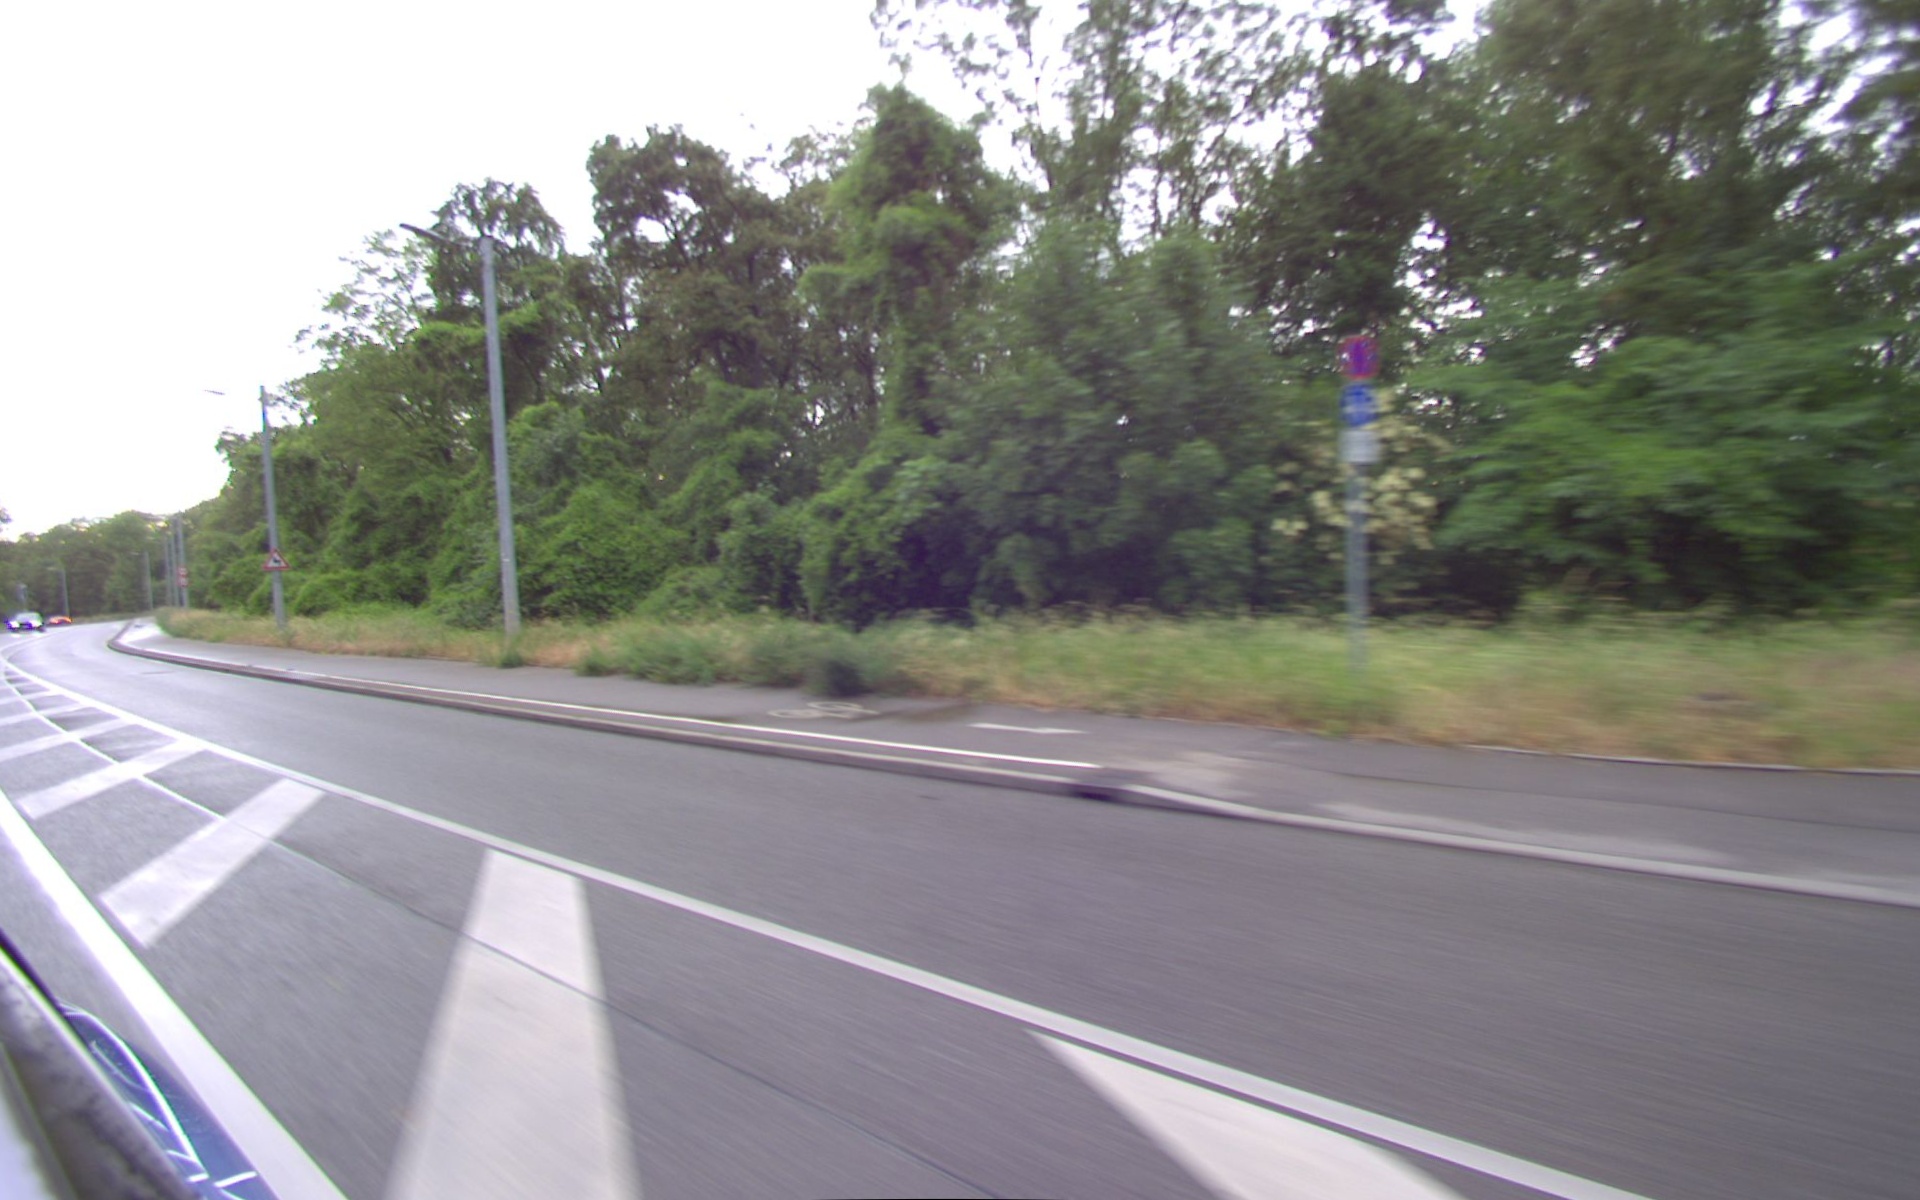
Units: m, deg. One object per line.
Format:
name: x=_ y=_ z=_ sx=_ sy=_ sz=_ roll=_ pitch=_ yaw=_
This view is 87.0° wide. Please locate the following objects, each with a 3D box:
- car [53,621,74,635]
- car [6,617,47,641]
car: x=-132.589 y=4.122 z=149.665 sx=4.000 sy=2.029 sz=1.972 roll=-2 pitch=1 yaw=43
car: x=-69.342 y=2.134 z=75.221 sx=1.968 sy=1.696 sz=4.007 roll=-2 pitch=0 yaw=-39
